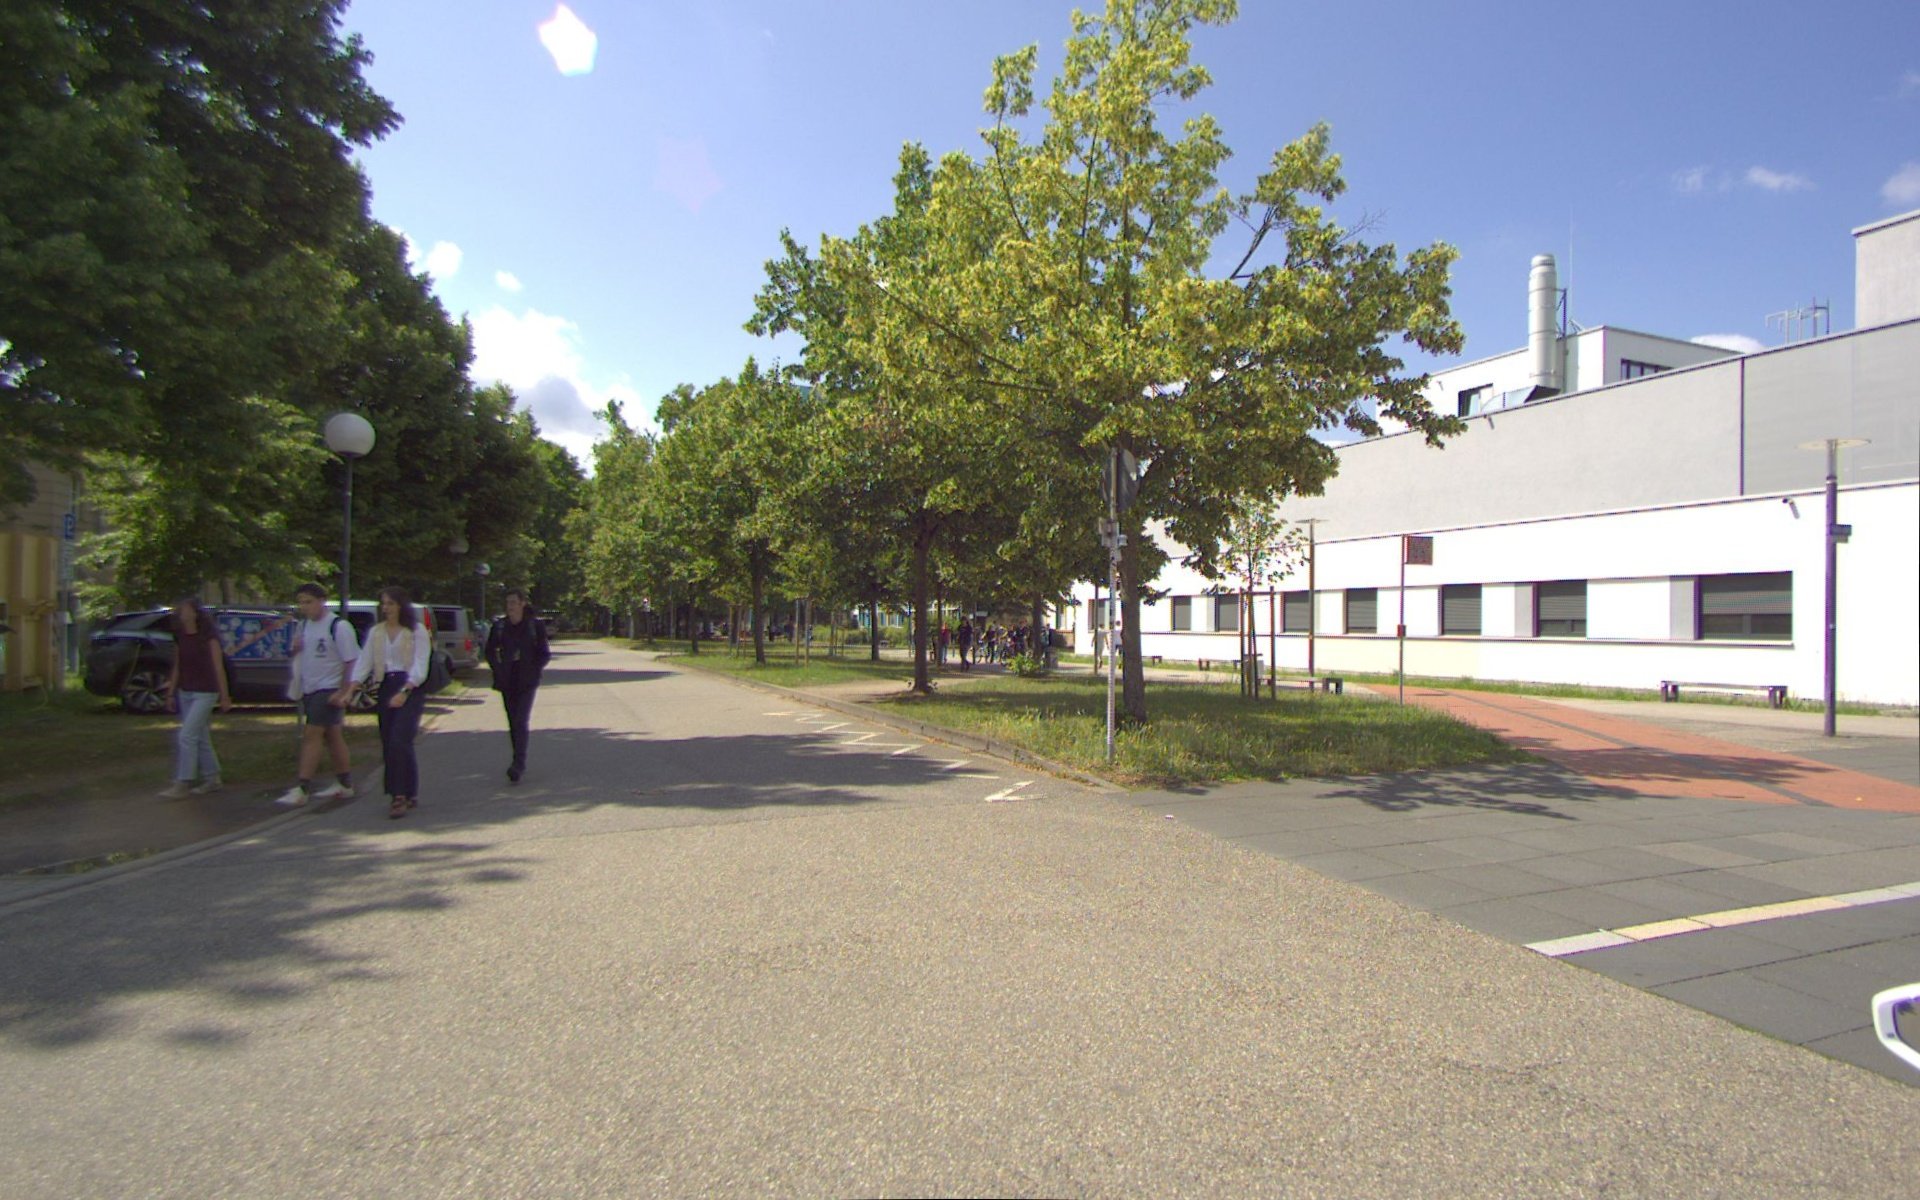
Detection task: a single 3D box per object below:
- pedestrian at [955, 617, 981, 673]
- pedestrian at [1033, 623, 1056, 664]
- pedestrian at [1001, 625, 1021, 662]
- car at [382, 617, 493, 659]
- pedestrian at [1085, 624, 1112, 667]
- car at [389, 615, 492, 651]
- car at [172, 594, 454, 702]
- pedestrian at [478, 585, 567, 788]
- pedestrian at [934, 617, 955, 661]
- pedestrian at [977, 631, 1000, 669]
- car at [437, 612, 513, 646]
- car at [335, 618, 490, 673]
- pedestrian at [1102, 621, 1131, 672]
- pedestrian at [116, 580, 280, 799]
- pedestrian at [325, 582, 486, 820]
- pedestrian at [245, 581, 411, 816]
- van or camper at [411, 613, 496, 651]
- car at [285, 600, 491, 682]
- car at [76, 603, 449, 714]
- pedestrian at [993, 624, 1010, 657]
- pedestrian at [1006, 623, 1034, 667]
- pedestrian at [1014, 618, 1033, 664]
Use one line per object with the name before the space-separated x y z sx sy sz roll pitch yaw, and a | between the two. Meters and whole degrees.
pedestrian | 0.263 1.449 32.718 0.623 1.810 0.873 0 -1 17
pedestrian | 3.489 1.783 41.429 0.785 1.676 0.731 1 -1 -6
pedestrian | 2.210 1.884 43.521 0.684 1.602 0.853 1 -1 -11
car | -22.677 1.652 43.777 4.067 1.689 1.803 3 -2 -23
pedestrian | 5.187 1.714 37.654 0.746 1.583 0.728 1 -1 -19
car | -24.243 1.550 47.059 4.067 1.562 1.803 3 -2 -23
car | -11.789 0.911 18.673 4.067 1.809 1.803 3 -2 -23
pedestrian | -4.091 0.784 9.447 0.559 1.810 0.871 0 -1 -11
pedestrian | -0.675 1.737 44.493 0.840 1.916 0.667 1 -1 -6
pedestrian | 1.224 2.169 43.480 0.736 1.602 0.851 1 -1 -19
car | -29.879 1.793 62.032 4.067 1.969 1.803 3 -2 -23
car | -17.198 1.440 31.796 4.067 1.562 1.803 3 -2 -23
pedestrian | 5.924 1.741 38.053 0.812 1.908 0.760 1 -1 -19
pedestrian | -6.442 0.724 8.540 0.546 1.739 0.973 1 -1 7
pedestrian | -4.315 0.749 7.887 0.609 1.739 1.006 0 -1 7
pedestrian | -5.160 0.773 8.255 0.712 1.810 0.901 1 -1 6
van or camper | -27.932 1.768 55.553 4.026 1.910 1.803 3 -2 -23
car | -15.244 1.123 27.062 4.458 1.985 1.805 3 -2 -20
car | -10.959 0.967 16.272 4.585 1.601 1.890 3 -2 -23
pedestrian | 2.154 2.122 52.376 0.715 1.716 0.555 1 -1 -22
pedestrian | 2.376 1.779 39.885 0.740 1.720 0.881 1 -1 -27
pedestrian | 2.632 1.697 41.629 0.672 1.863 0.761 1 -1 -6
